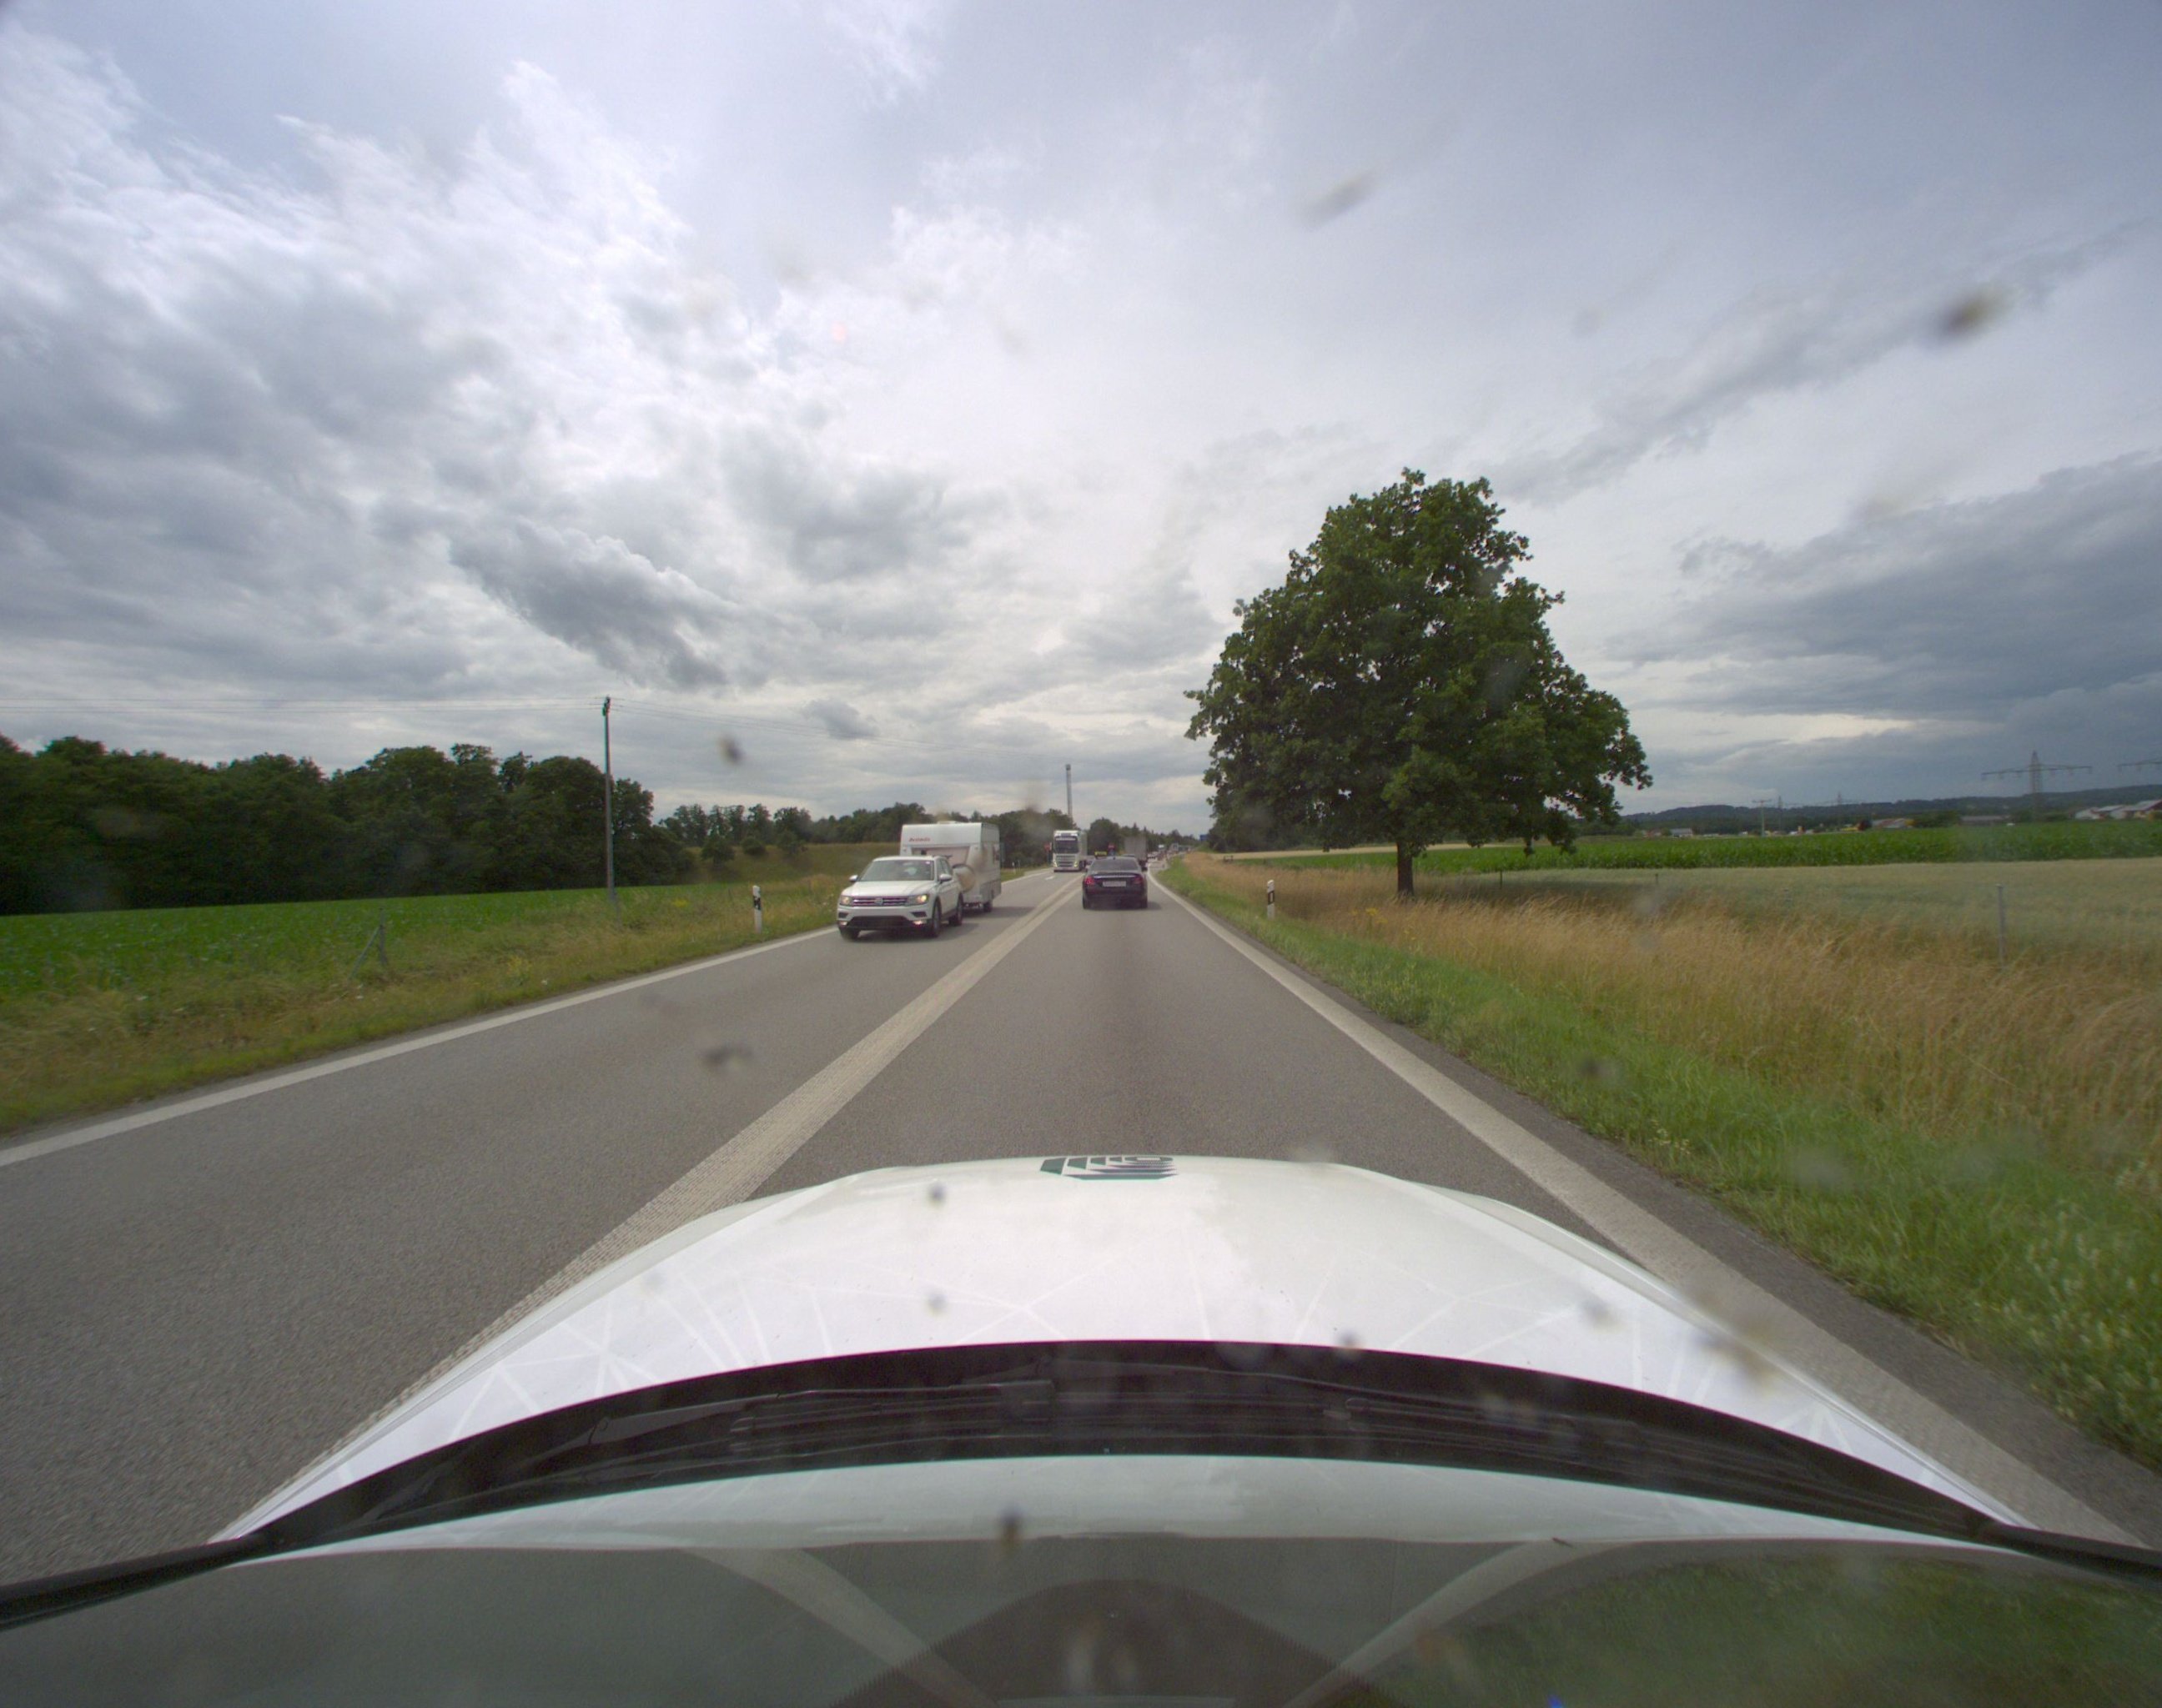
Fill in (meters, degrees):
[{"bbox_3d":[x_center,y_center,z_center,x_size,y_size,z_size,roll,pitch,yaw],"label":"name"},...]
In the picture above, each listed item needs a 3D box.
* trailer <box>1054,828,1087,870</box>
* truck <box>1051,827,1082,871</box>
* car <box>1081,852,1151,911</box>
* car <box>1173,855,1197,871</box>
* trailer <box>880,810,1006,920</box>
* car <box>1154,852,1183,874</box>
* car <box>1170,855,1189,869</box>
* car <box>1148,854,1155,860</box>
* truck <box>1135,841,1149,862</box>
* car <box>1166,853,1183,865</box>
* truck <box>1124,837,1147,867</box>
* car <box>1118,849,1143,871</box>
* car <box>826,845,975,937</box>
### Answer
[{"bbox_3d":[-0.949,-0.526,84.552,2.479,3.995,13.086,-1,0,3],"label":"trailer"},{"bbox_3d":[-1.338,-0.484,77.727,2.479,3.995,5.208,-1,0,3],"label":"truck"},{"bbox_3d":[0.934,0.746,23.744,1.791,1.560,3.997,0,-1,-2],"label":"car"},{"bbox_3d":[10.733,0.917,84.231,1.791,1.662,3.997,0,-1,-2],"label":"car"},{"bbox_3d":[-3.535,0.288,22.291,2.174,2.575,6.246,0,-1,2],"label":"trailer"},{"bbox_3d":[6.977,0.702,65.207,1.791,1.662,3.997,0,-1,-2],"label":"car"},{"bbox_3d":[12.004,0.978,99.320,1.791,1.662,3.997,0,-1,-2],"label":"car"},{"bbox_3d":[18.156,0.801,211.013,1.642,1.395,3.709,0,-1,3],"label":"car"},{"bbox_3d":[10.593,-0.389,142.521,1.988,3.526,4.589,0,-1,-2],"label":"truck"},{"bbox_3d":[12.902,0.706,112.763,1.791,1.662,3.997,0,-1,-2],"label":"car"},{"bbox_3d":[6.662,-0.198,99.202,2.574,3.524,4.820,0,-1,6],"label":"truck"},{"bbox_3d":[4.498,0.556,74.387,1.988,2.014,3.997,0,-1,-2],"label":"car"},{"bbox_3d":[-3.562,0.698,16.966,1.998,1.657,4.328,0,-1,2],"label":"car"}]
